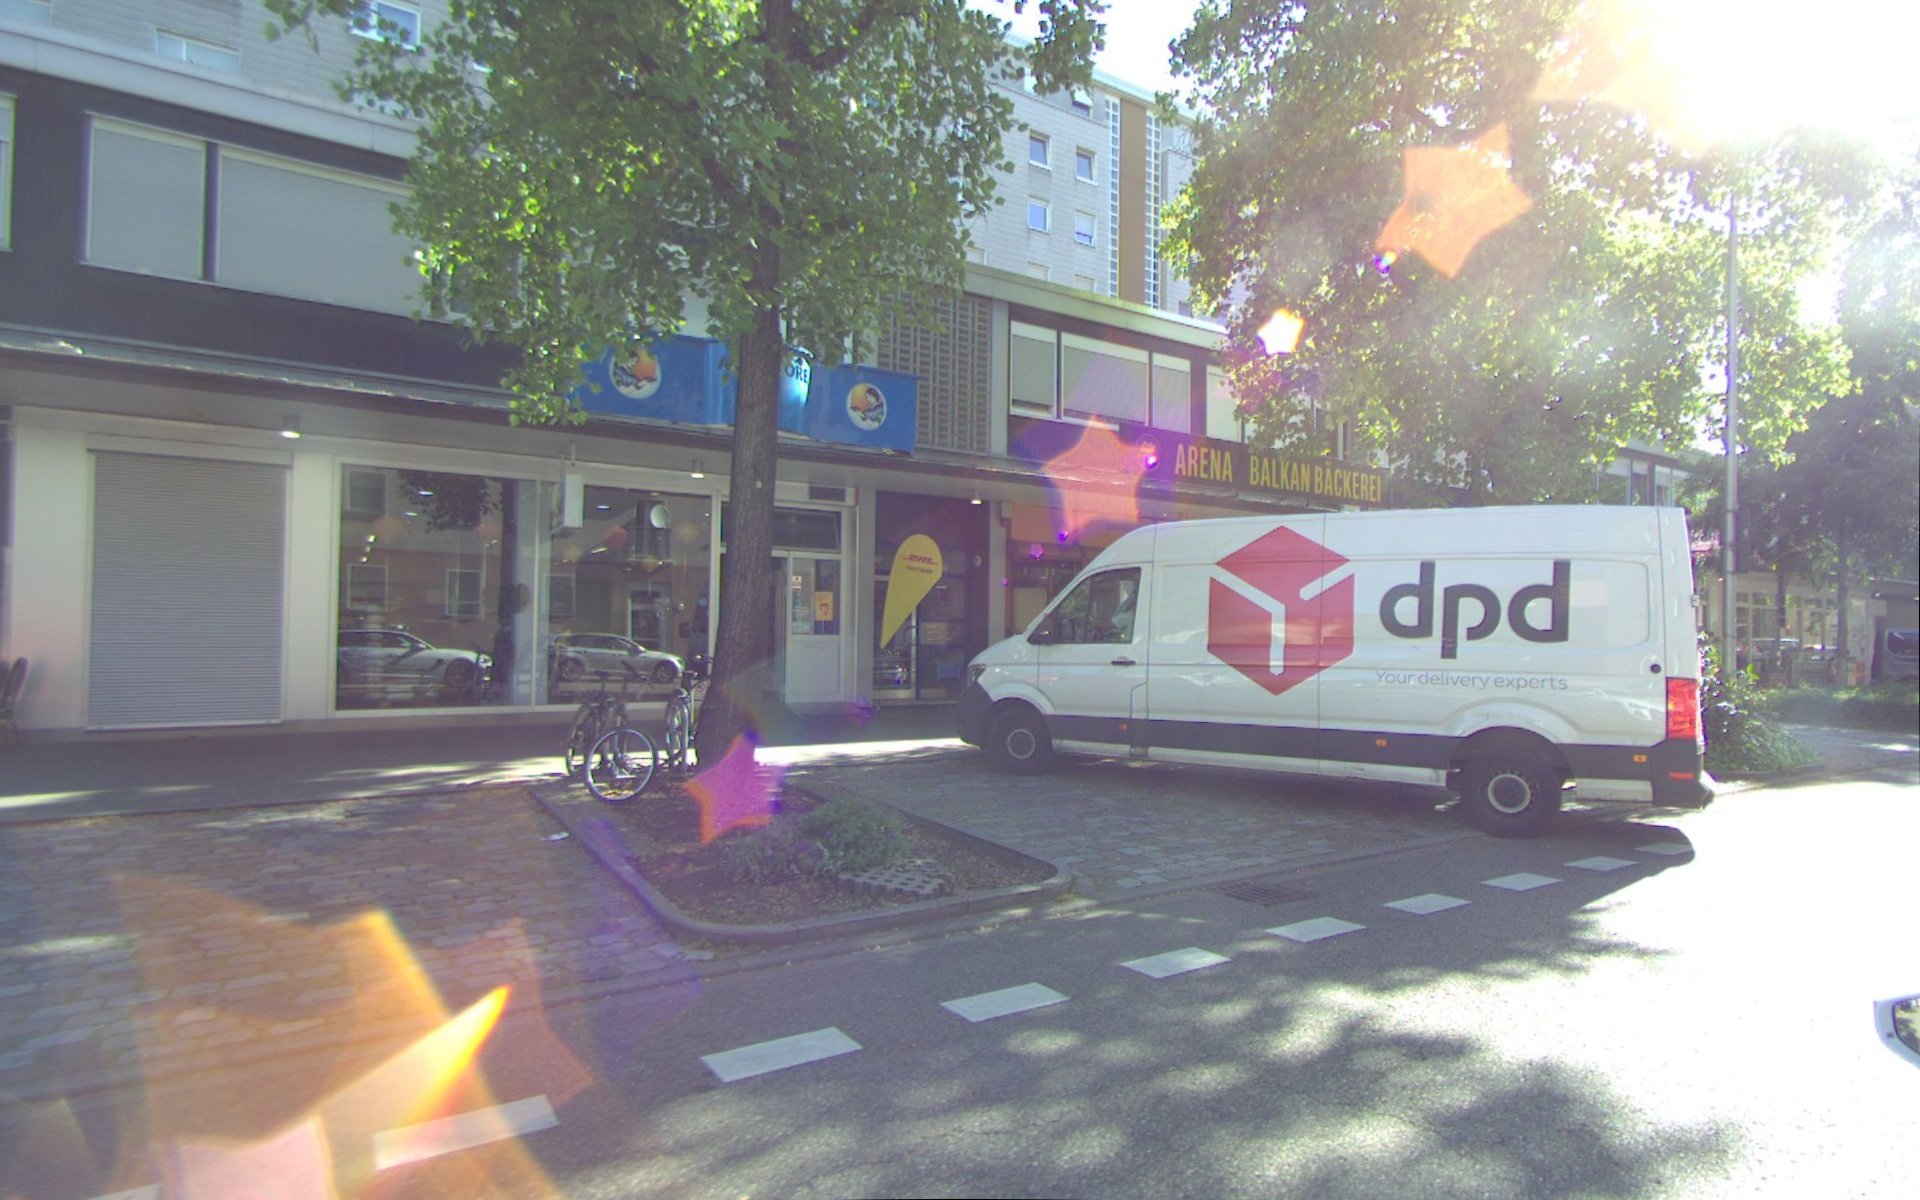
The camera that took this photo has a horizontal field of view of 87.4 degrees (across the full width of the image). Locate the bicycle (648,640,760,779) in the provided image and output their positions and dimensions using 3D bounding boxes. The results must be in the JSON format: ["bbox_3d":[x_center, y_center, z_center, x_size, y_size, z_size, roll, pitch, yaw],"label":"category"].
[{"bbox_3d":[-2.535,1.002,9.794,0.579,1.121,1.860,2,0,-29],"label":"bicycle"}]

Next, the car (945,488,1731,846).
[{"bbox_3d":[3.137,0.489,9.582,6.488,2.506,1.996,0,-1,31],"label":"car"}]

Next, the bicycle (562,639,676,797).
[{"bbox_3d":[-2.982,0.957,8.686,0.615,1.132,1.711,2,0,-29],"label":"bicycle"}]

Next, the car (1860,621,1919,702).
[{"bbox_3d":[25.843,1.621,24.641,1.993,2.000,5.263,2,0,-32],"label":"car"}]
